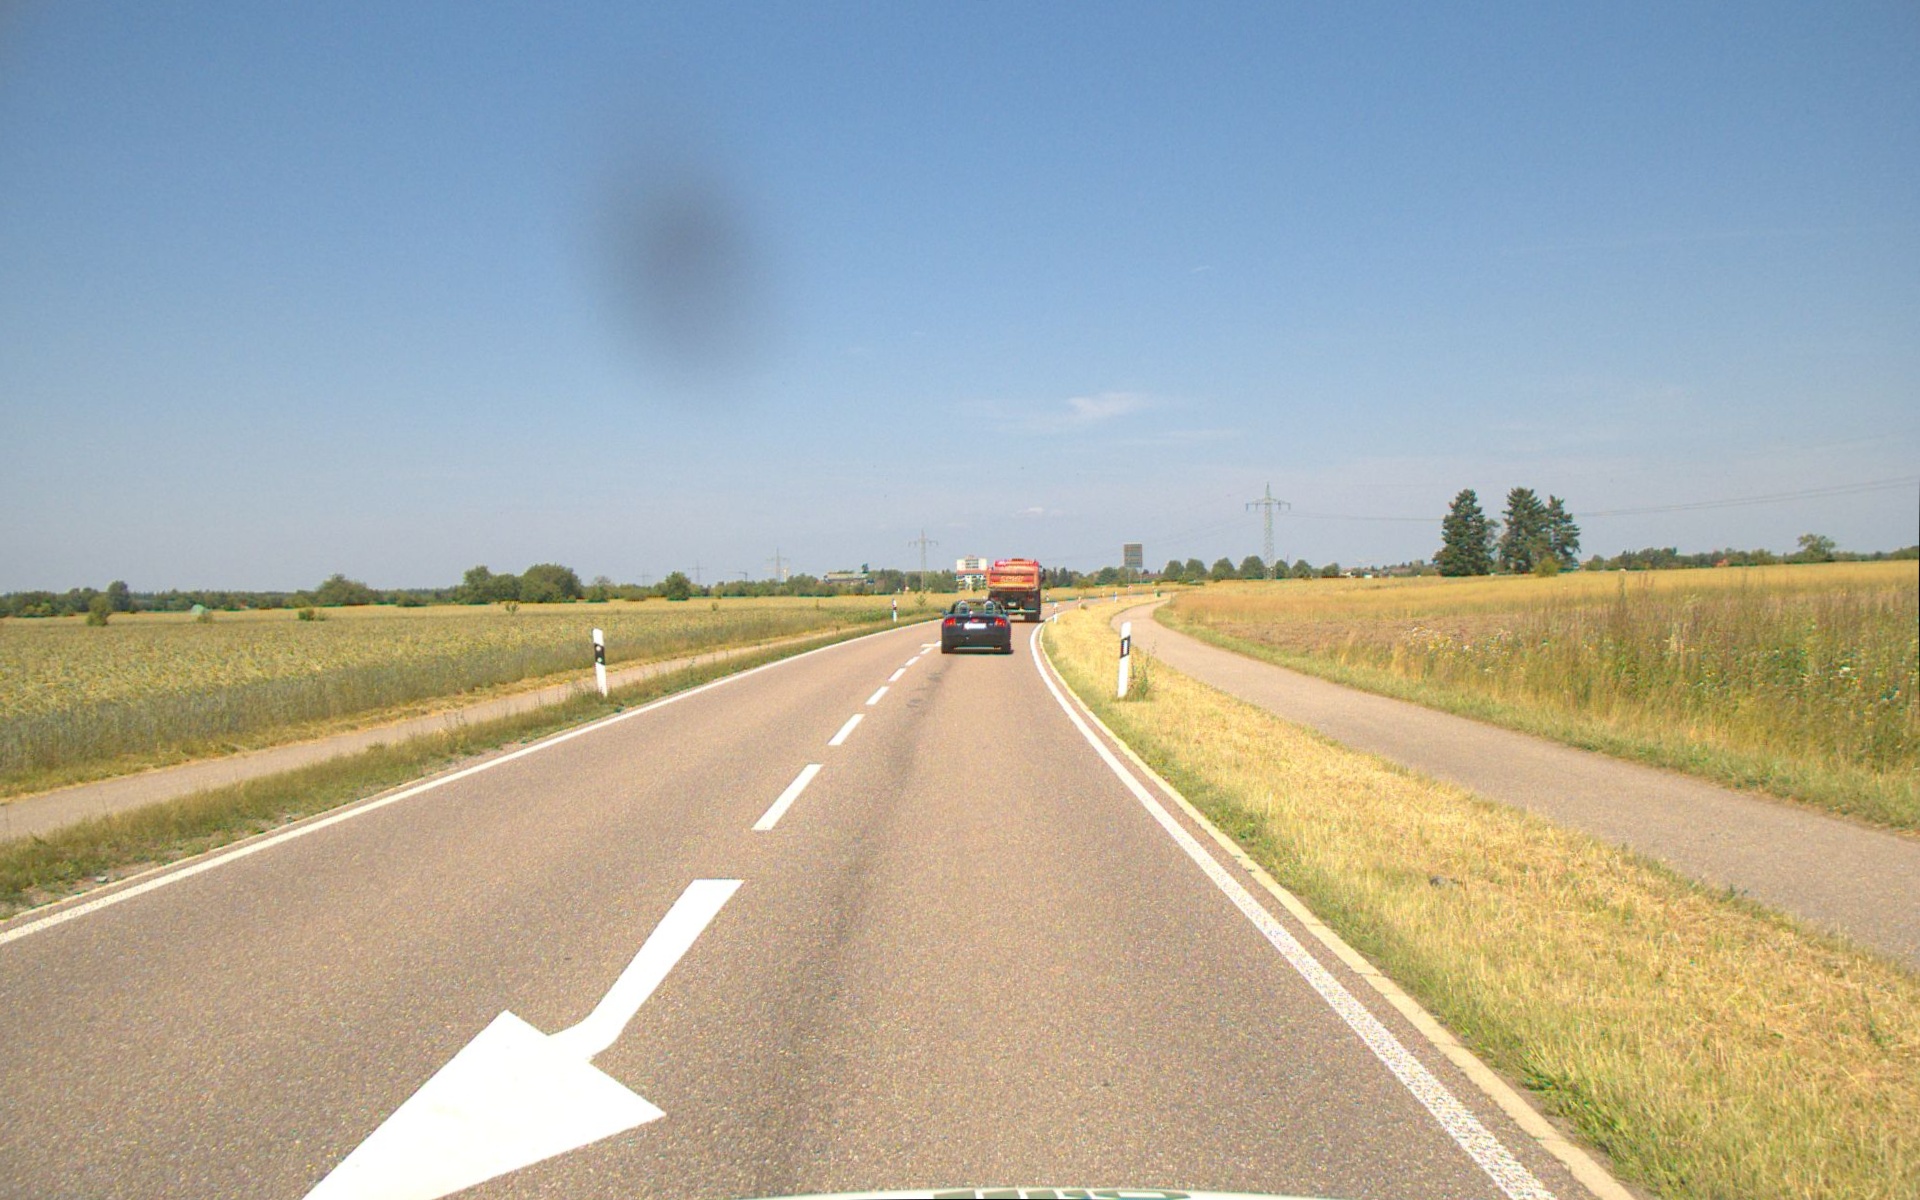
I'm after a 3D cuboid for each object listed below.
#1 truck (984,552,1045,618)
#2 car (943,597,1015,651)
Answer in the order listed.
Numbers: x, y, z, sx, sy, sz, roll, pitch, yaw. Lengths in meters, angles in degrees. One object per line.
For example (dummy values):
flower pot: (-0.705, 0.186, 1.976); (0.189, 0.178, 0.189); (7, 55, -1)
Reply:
truck: (2.726, -0.712, 82.530); (2.877, 3.143, 7.198); (0, 0, 2)
car: (0.489, 0.575, 41.672); (1.708, 1.302, 4.000); (0, 0, 1)
